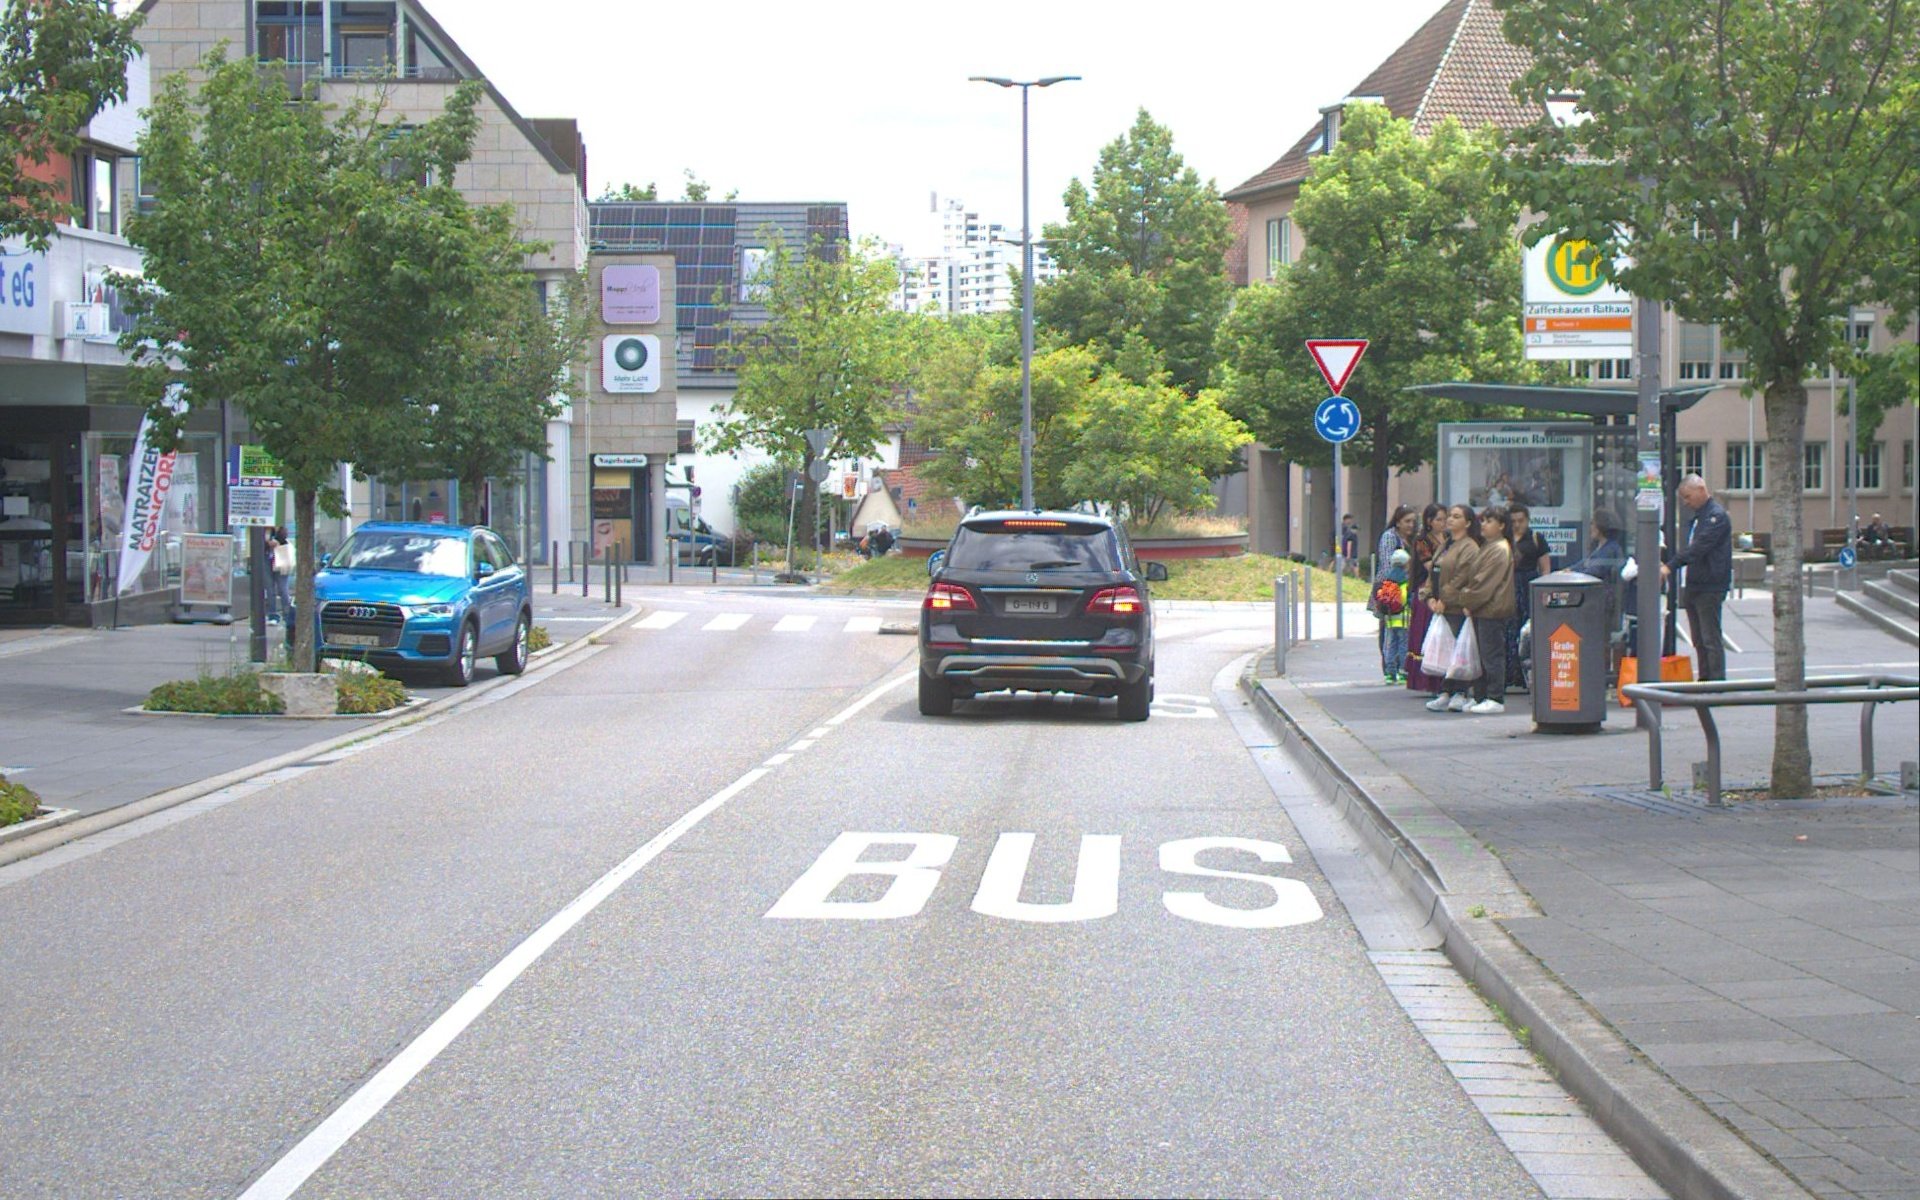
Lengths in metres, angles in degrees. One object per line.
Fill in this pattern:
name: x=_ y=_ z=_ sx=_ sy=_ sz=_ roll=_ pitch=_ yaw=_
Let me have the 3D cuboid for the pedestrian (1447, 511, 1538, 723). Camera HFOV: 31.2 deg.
pedestrian: x=3.940 y=0.120 z=25.433 sx=0.513 sy=1.544 sz=0.486 roll=-1 pitch=1 yaw=28

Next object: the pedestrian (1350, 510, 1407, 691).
pedestrian: x=3.804 y=0.000 z=31.255 sx=0.387 sy=1.614 sz=0.469 roll=-2 pitch=1 yaw=17

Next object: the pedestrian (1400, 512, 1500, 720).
pedestrian: x=3.699 y=0.114 z=25.949 sx=0.485 sy=1.544 sz=0.543 roll=-2 pitch=1 yaw=-44

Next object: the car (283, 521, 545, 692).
car: x=-5.604 y=0.030 z=35.769 sx=1.694 sy=1.594 sz=4.331 roll=3 pitch=1 yaw=4

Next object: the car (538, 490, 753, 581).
car: x=-9.805 y=-1.994 z=107.104 sx=6.283 sy=2.551 sz=2.207 roll=2 pitch=-2 yaw=-19

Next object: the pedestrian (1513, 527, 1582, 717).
pedestrian: x=4.526 y=0.166 z=26.494 sx=0.377 sy=1.437 sz=0.416 roll=-2 pitch=1 yaw=-4

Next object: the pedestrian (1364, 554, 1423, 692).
pedestrian: x=3.875 y=0.203 z=30.718 sx=0.403 sy=1.222 sz=0.387 roll=-1 pitch=1 yaw=24

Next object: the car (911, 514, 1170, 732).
car: x=0.614 y=0.219 z=29.825 sx=2.027 sy=1.721 sz=4.433 roll=1 pitch=-1 yaw=-1

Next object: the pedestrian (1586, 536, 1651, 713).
pedestrian: x=4.918 y=0.177 z=25.681 sx=0.389 sy=1.301 sz=0.355 roll=-2 pitch=1 yaw=4

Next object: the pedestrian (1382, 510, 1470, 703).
pedestrian: x=3.818 y=0.049 z=28.193 sx=0.500 sy=1.560 sz=0.498 roll=-2 pitch=1 yaw=-25

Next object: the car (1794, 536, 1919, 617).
car: x=16.544 y=-0.432 z=61.130 sx=1.613 sy=1.378 sz=3.826 roll=2 pitch=2 yaw=44

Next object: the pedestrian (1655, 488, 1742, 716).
pedestrian: x=5.506 y=0.007 z=25.644 sx=0.511 sy=1.674 sz=0.576 roll=-1 pitch=1 yaw=2

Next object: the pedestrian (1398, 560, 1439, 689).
pedestrian: x=4.147 y=0.217 z=31.087 sx=0.297 sy=1.148 sz=0.293 roll=-2 pitch=1 yaw=0

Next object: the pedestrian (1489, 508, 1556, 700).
pedestrian: x=4.624 y=0.031 z=28.264 sx=0.393 sy=1.560 sz=0.352 roll=-2 pitch=1 yaw=-26

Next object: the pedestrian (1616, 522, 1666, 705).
pedestrian: x=5.474 y=0.106 z=27.637 sx=0.274 sy=1.453 sz=0.320 roll=-1 pitch=1 yaw=-12

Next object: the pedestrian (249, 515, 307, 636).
pedestrian: x=-9.065 y=-0.326 z=45.711 sx=0.587 sy=1.583 sz=0.638 roll=1 pitch=1 yaw=3
